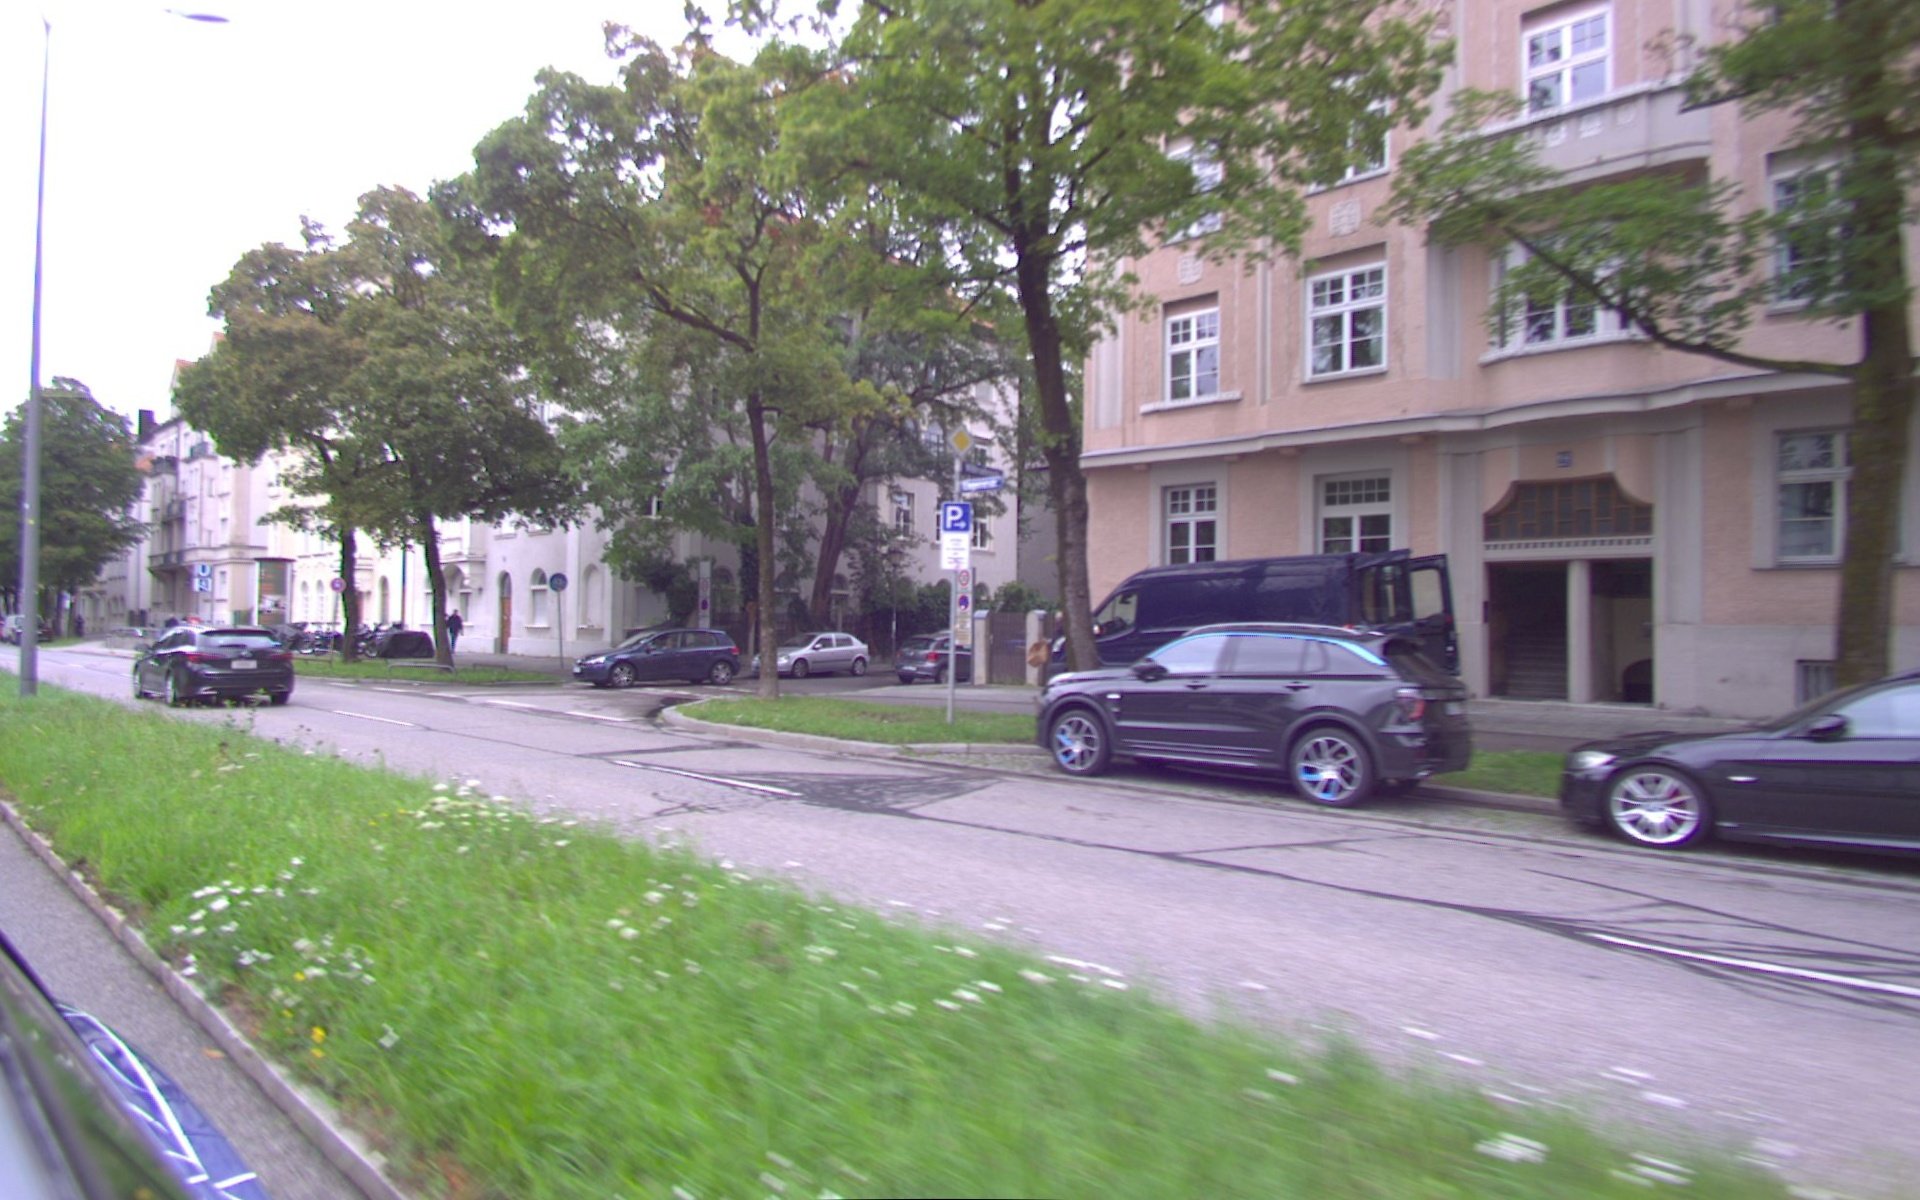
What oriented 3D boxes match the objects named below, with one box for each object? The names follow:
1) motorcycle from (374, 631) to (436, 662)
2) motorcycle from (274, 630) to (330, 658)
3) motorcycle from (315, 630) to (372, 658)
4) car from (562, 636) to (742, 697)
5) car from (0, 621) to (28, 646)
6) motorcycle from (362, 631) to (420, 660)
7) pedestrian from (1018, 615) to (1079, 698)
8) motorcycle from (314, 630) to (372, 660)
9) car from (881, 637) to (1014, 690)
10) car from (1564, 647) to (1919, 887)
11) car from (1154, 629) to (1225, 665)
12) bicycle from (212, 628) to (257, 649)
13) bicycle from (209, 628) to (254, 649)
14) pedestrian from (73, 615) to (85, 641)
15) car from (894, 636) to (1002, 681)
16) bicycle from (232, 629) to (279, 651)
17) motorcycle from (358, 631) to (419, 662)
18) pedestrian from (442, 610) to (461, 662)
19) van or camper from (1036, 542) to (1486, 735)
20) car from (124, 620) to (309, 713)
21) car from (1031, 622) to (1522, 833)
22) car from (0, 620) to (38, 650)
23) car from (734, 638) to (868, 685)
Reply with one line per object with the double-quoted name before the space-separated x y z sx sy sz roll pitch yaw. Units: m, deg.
"motorcycle" -20.867 1.751 38.070 1.926 1.158 0.597 0 -2 -11
"motorcycle" -27.819 1.837 42.840 1.924 1.158 0.598 1 -2 -28
"motorcycle" -25.431 1.822 41.768 1.926 1.158 0.597 0 -2 -11
"car" -7.687 1.628 25.410 3.935 1.386 1.866 1 -3 -38
"car" -72.094 2.505 76.579 3.998 1.852 1.848 -1 -2 41
"motorcycle" -22.636 1.808 40.292 1.926 1.158 0.597 0 -2 -11
"pedestrian" 1.901 1.198 21.818 1.082 1.723 0.740 -1 -2 41
"motorcycle" -24.912 1.814 40.887 1.926 1.158 0.597 0 -2 -11
"car" -0.304 1.769 29.007 1.910 1.382 3.660 -1 -2 39
"car" 6.846 1.096 6.865 4.490 1.465 1.674 -1 -2 41
"car" 11.220 2.267 49.323 1.793 1.660 3.947 -1 -2 39
"bicycle" -39.673 2.105 55.337 1.924 1.158 0.598 1 -2 -28
"bicycle" -40.256 2.112 55.965 1.924 1.158 0.598 1 -2 -28
"pedestrian" -69.588 2.200 79.962 0.631 2.058 0.739 1 -2 -38
"car" -0.388 2.059 36.362 1.793 1.496 3.947 -1 -2 39
"bicycle" -36.844 2.087 52.969 1.924 1.158 0.598 1 -2 -28
"motorcycle" -22.065 1.791 39.096 1.926 1.158 0.597 0 -2 -11
"pedestrian" -20.255 1.431 40.329 0.590 2.075 0.686 1 -2 -30
"van or camper" 4.698 0.594 16.840 6.848 2.599 2.321 -1 -2 41
"car" -13.718 1.170 18.582 4.321 1.518 1.791 -1 -4 41
"car" 3.047 1.080 10.353 4.436 1.700 1.854 -1 -2 41
"car" -65.585 2.425 70.366 3.998 2.029 1.767 -1 -2 41
"car" -4.893 1.859 31.504 1.793 1.332 3.947 -1 -2 39
